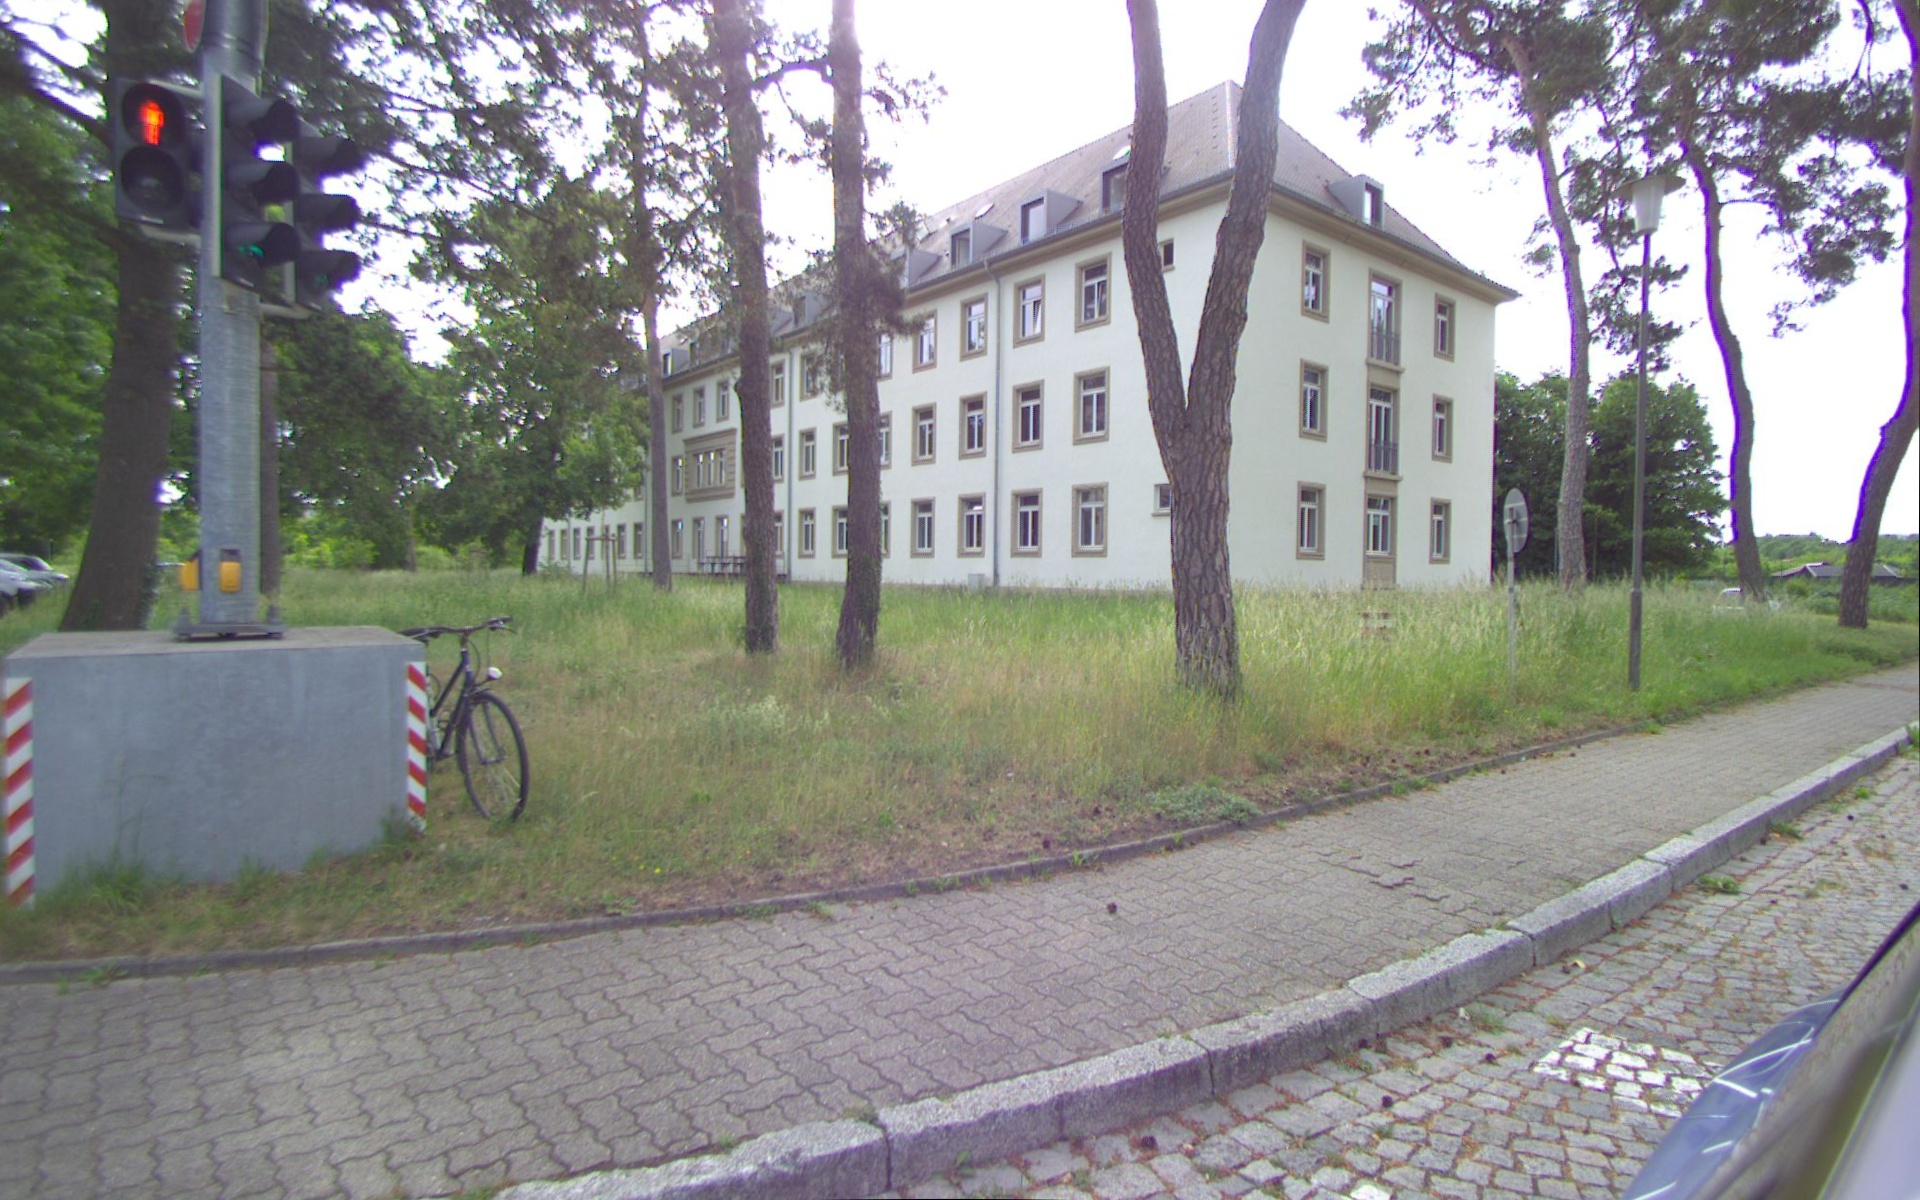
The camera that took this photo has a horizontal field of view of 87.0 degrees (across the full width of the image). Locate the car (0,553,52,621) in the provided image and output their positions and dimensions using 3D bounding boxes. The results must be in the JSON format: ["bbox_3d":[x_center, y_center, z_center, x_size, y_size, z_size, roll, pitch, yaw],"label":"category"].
[{"bbox_3d":[-23.474,-0.309,23.162,3.859,1.549,1.862,-1,2,-37],"label":"car"}]

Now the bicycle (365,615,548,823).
[{"bbox_3d":[-2.792,0.565,5.523,0.562,0.885,1.704,0,2,-38],"label":"bicycle"}]

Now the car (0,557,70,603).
[{"bbox_3d":[-34.856,-0.716,36.175,4.435,1.638,1.999,-1,2,-39],"label":"car"}]

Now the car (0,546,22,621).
[{"bbox_3d":[-26.595,-0.412,24.930,2.226,1.933,4.801,1,2,35],"label":"car"}]

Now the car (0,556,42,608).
[{"bbox_3d":[-31.474,-0.576,31.646,3.928,1.638,1.999,-1,2,-39],"label":"car"}]

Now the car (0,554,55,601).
[{"bbox_3d":[-37.387,-0.855,38.238,4.611,1.795,1.999,-1,2,-39],"label":"car"}]

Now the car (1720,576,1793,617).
[{"bbox_3d":[32.022,-0.156,40.658,3.220,1.451,1.641,-3,3,-39],"label":"car"}]
